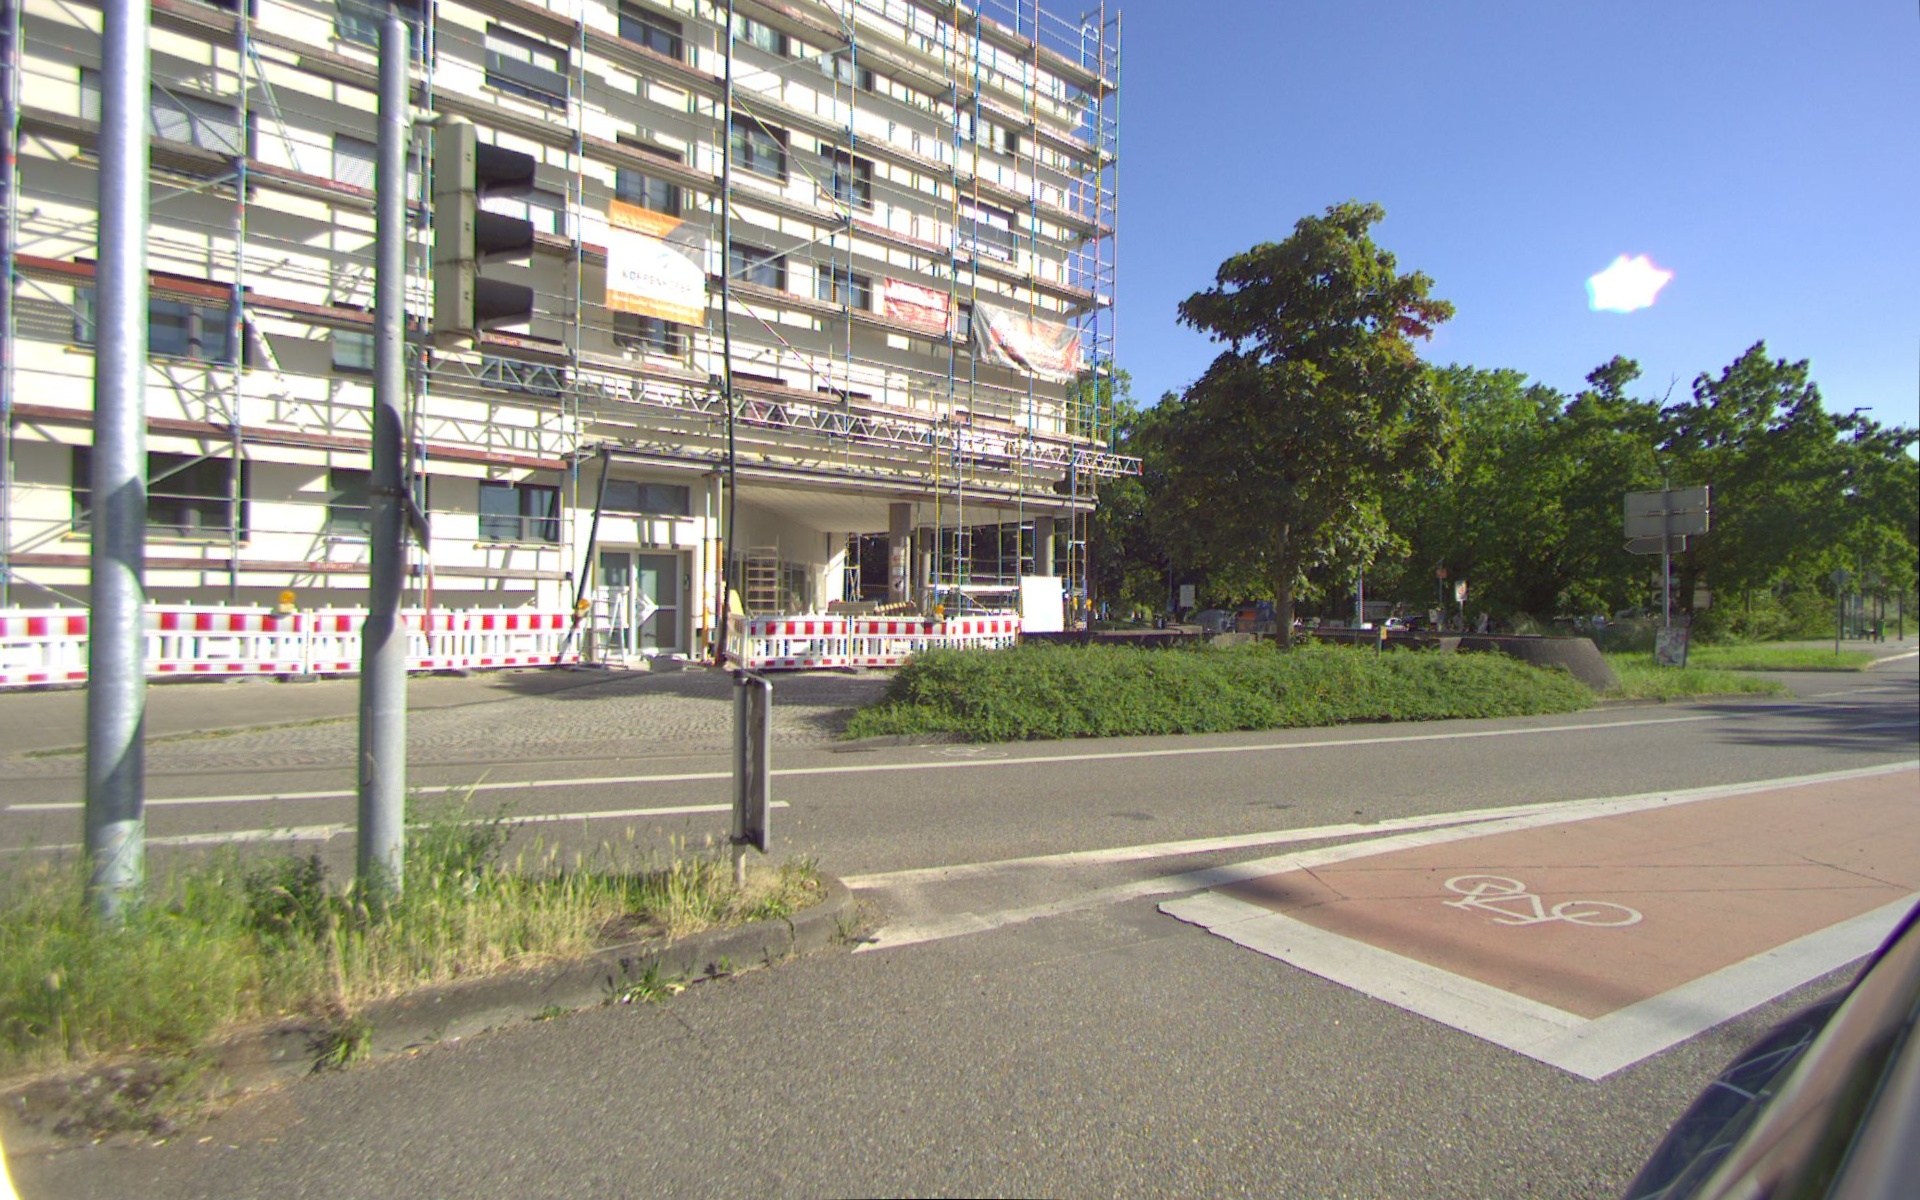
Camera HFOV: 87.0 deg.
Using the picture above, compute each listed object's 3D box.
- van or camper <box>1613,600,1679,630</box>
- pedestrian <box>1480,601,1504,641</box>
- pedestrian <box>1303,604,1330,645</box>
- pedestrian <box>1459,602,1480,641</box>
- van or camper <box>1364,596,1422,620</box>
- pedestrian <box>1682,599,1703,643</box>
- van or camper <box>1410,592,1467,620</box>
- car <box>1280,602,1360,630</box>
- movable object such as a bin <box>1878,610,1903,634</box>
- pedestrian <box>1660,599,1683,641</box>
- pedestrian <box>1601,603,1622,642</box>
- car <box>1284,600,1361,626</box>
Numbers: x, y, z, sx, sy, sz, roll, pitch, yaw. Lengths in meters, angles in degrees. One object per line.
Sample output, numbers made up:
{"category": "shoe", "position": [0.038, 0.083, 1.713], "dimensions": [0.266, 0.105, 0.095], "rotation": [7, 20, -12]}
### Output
{"category": "van or camper", "position": [45.819, 0.986, 67.560], "dimensions": [5.235, 1.937, 2.454], "rotation": [0, 0, -42]}
{"category": "pedestrian", "position": [22.416, 0.883, 42.657], "dimensions": [0.557, 1.640, 0.703], "rotation": [0, -1, -43]}
{"category": "pedestrian", "position": [13.457, 0.916, 38.157], "dimensions": [0.650, 1.516, 0.894], "rotation": [0, -1, 44]}
{"category": "pedestrian", "position": [21.816, 0.902, 43.320], "dimensions": [0.557, 1.640, 0.597], "rotation": [0, -1, -43]}
{"category": "van or camper", "position": [36.080, 0.652, 84.302], "dimensions": [5.235, 1.937, 2.454], "rotation": [0, 0, -42]}
{"category": "pedestrian", "position": [29.021, 0.831, 40.092], "dimensions": [0.402, 1.722, 0.604], "rotation": [1, -1, -38]}
{"category": "van or camper", "position": [38.604, 0.459, 81.518], "dimensions": [5.238, 2.186, 2.453], "rotation": [1, 0, -43]}
{"category": "car", "position": [18.613, 0.807, 52.423], "dimensions": [1.596, 1.331, 3.580], "rotation": [-2, 1, -43]}
{"category": "movable object such as a bin", "position": [40.990, 0.980, 44.572], "dimensions": [0.567, 1.043, 0.728], "rotation": [1, -1, -38]}
{"category": "pedestrian", "position": [28.318, 0.784, 40.282], "dimensions": [0.541, 1.655, 0.623], "rotation": [1, -1, -37]}
{"category": "pedestrian", "position": [26.205, 0.896, 40.711], "dimensions": [0.602, 1.537, 0.529], "rotation": [1, -1, -35]}
{"category": "car", "position": [19.803, 0.688, 55.302], "dimensions": [1.596, 1.290, 3.643], "rotation": [-2, 1, -43]}
